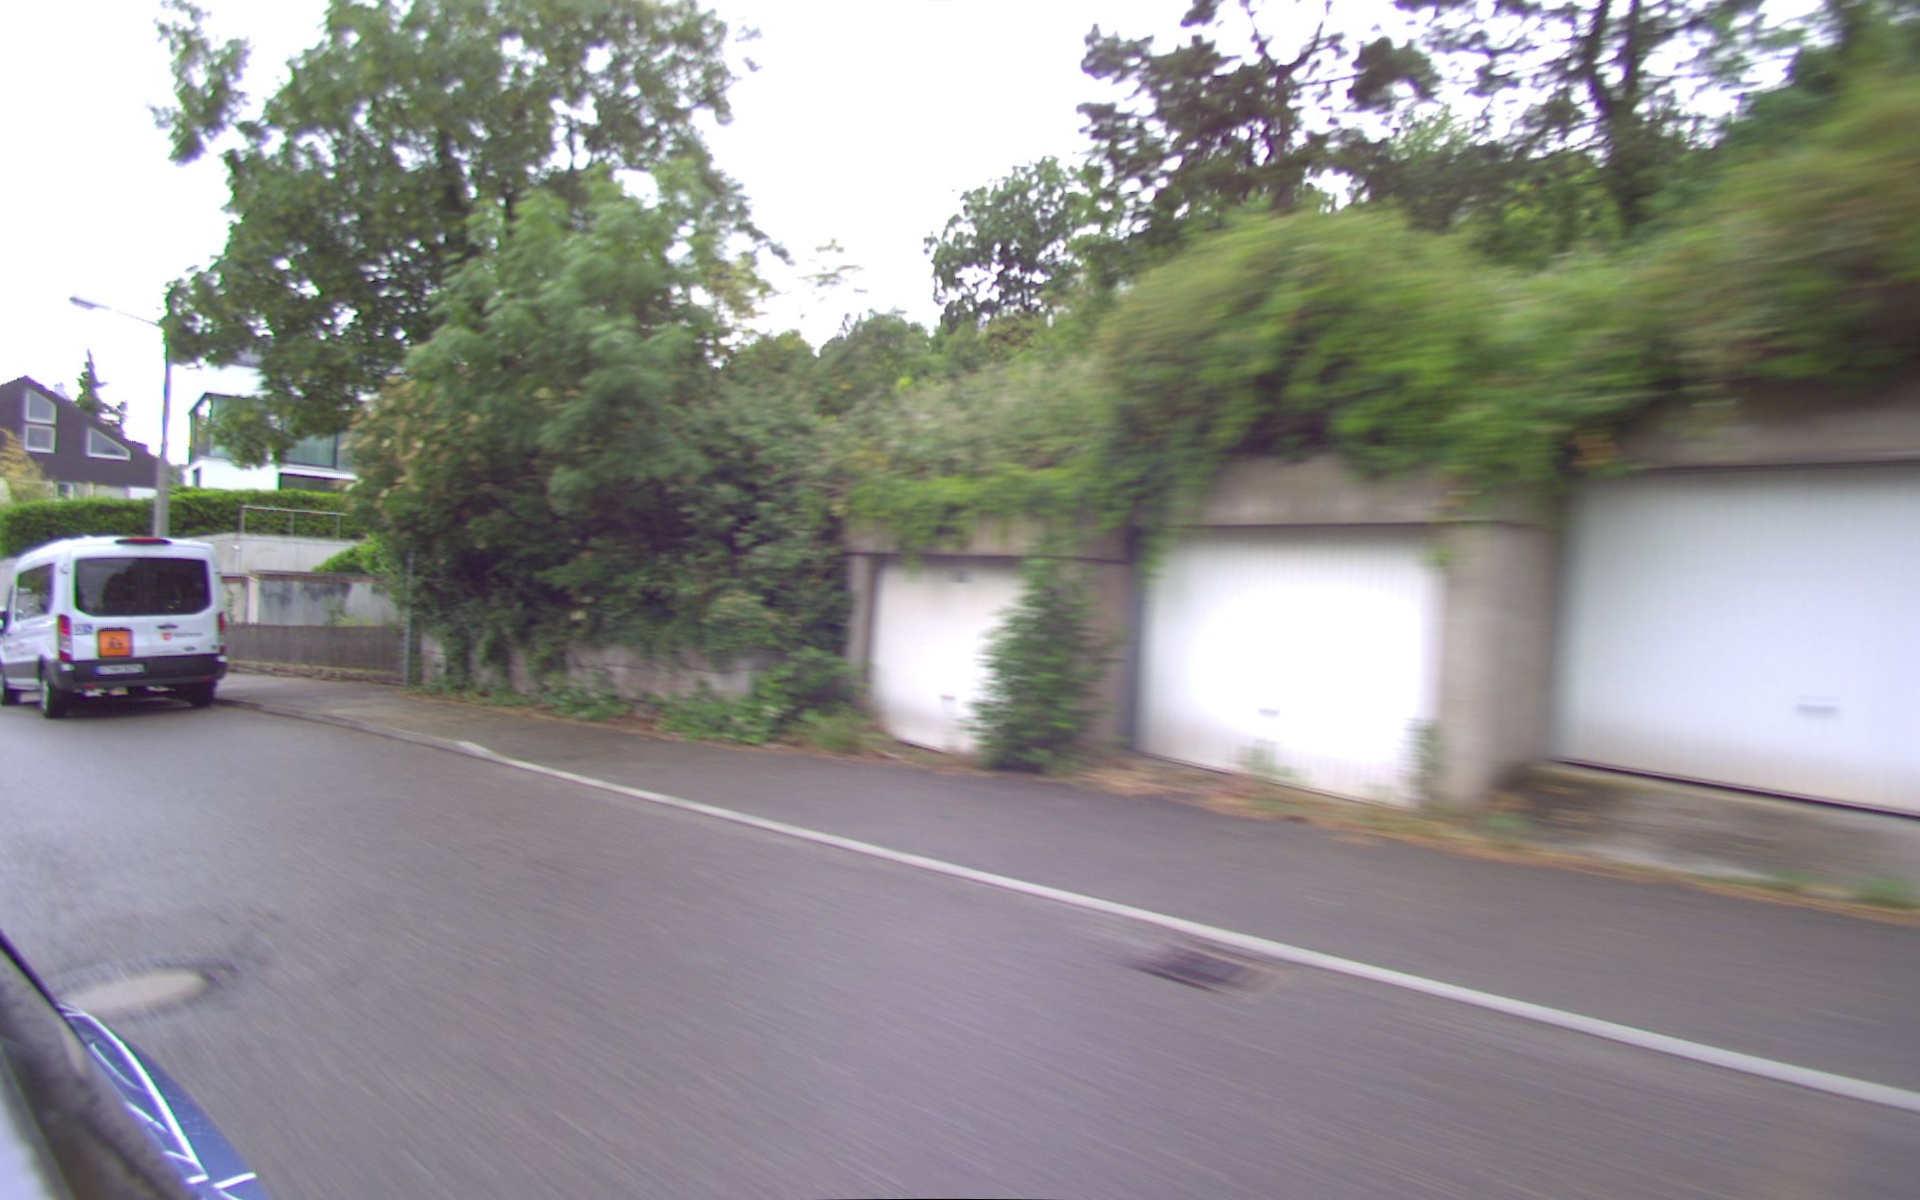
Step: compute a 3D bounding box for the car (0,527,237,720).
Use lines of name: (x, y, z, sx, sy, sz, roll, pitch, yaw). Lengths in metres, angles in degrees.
car: (-13.791, 0.349, 16.180, 6.090, 2.569, 2.074, -1, 0, 39)

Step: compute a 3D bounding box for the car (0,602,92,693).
car: (-19.720, 0.913, 20.646, 4.532, 1.704, 1.881, 0, 0, 33)
